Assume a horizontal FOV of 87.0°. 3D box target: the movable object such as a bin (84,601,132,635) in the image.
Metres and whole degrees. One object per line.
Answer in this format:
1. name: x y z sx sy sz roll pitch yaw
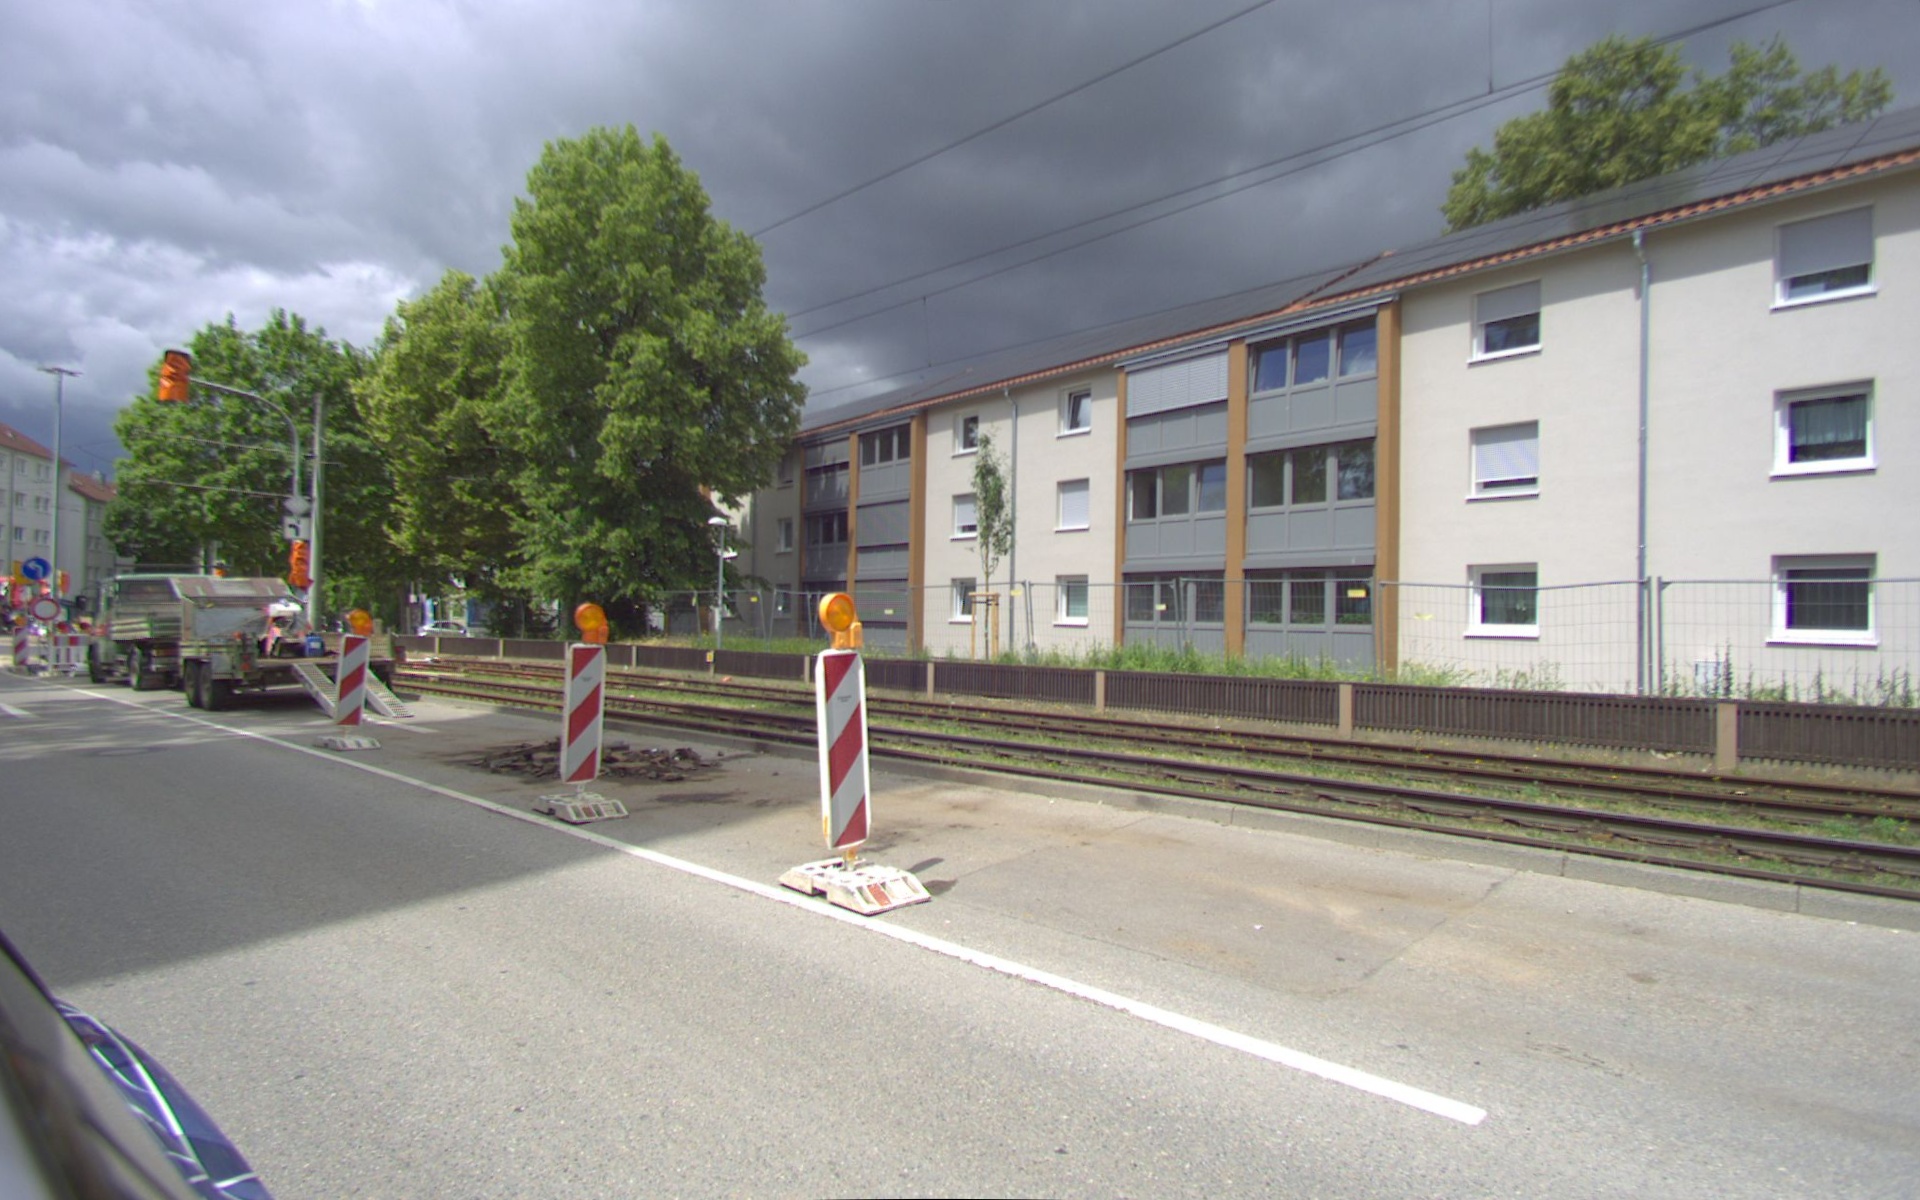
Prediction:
1. movable object such as a bin: -64.780 1.403 77.023 1.965 2.428 4.012 2 -3 -28

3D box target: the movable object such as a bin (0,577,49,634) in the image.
1. movable object such as a bin: -46.696 0.241 48.585 2.080 2.689 5.604 2 -1 -16

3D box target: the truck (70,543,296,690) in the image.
1. truck: -17.010 0.326 21.995 6.391 2.746 2.635 0 -1 41

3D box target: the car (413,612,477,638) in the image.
1. car: -30.710 1.497 60.356 3.150 1.466 1.568 2 -3 -35

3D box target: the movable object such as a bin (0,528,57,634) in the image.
1. movable object such as a bin: -51.920 -1.092 51.650 2.787 5.527 9.017 0 -2 6

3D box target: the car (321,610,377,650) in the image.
1. car: -31.006 1.502 51.299 1.967 1.901 5.263 2 -2 -36

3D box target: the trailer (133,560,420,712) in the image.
1. trailer: -12.217 0.539 17.875 6.244 2.230 2.635 0 -1 41
